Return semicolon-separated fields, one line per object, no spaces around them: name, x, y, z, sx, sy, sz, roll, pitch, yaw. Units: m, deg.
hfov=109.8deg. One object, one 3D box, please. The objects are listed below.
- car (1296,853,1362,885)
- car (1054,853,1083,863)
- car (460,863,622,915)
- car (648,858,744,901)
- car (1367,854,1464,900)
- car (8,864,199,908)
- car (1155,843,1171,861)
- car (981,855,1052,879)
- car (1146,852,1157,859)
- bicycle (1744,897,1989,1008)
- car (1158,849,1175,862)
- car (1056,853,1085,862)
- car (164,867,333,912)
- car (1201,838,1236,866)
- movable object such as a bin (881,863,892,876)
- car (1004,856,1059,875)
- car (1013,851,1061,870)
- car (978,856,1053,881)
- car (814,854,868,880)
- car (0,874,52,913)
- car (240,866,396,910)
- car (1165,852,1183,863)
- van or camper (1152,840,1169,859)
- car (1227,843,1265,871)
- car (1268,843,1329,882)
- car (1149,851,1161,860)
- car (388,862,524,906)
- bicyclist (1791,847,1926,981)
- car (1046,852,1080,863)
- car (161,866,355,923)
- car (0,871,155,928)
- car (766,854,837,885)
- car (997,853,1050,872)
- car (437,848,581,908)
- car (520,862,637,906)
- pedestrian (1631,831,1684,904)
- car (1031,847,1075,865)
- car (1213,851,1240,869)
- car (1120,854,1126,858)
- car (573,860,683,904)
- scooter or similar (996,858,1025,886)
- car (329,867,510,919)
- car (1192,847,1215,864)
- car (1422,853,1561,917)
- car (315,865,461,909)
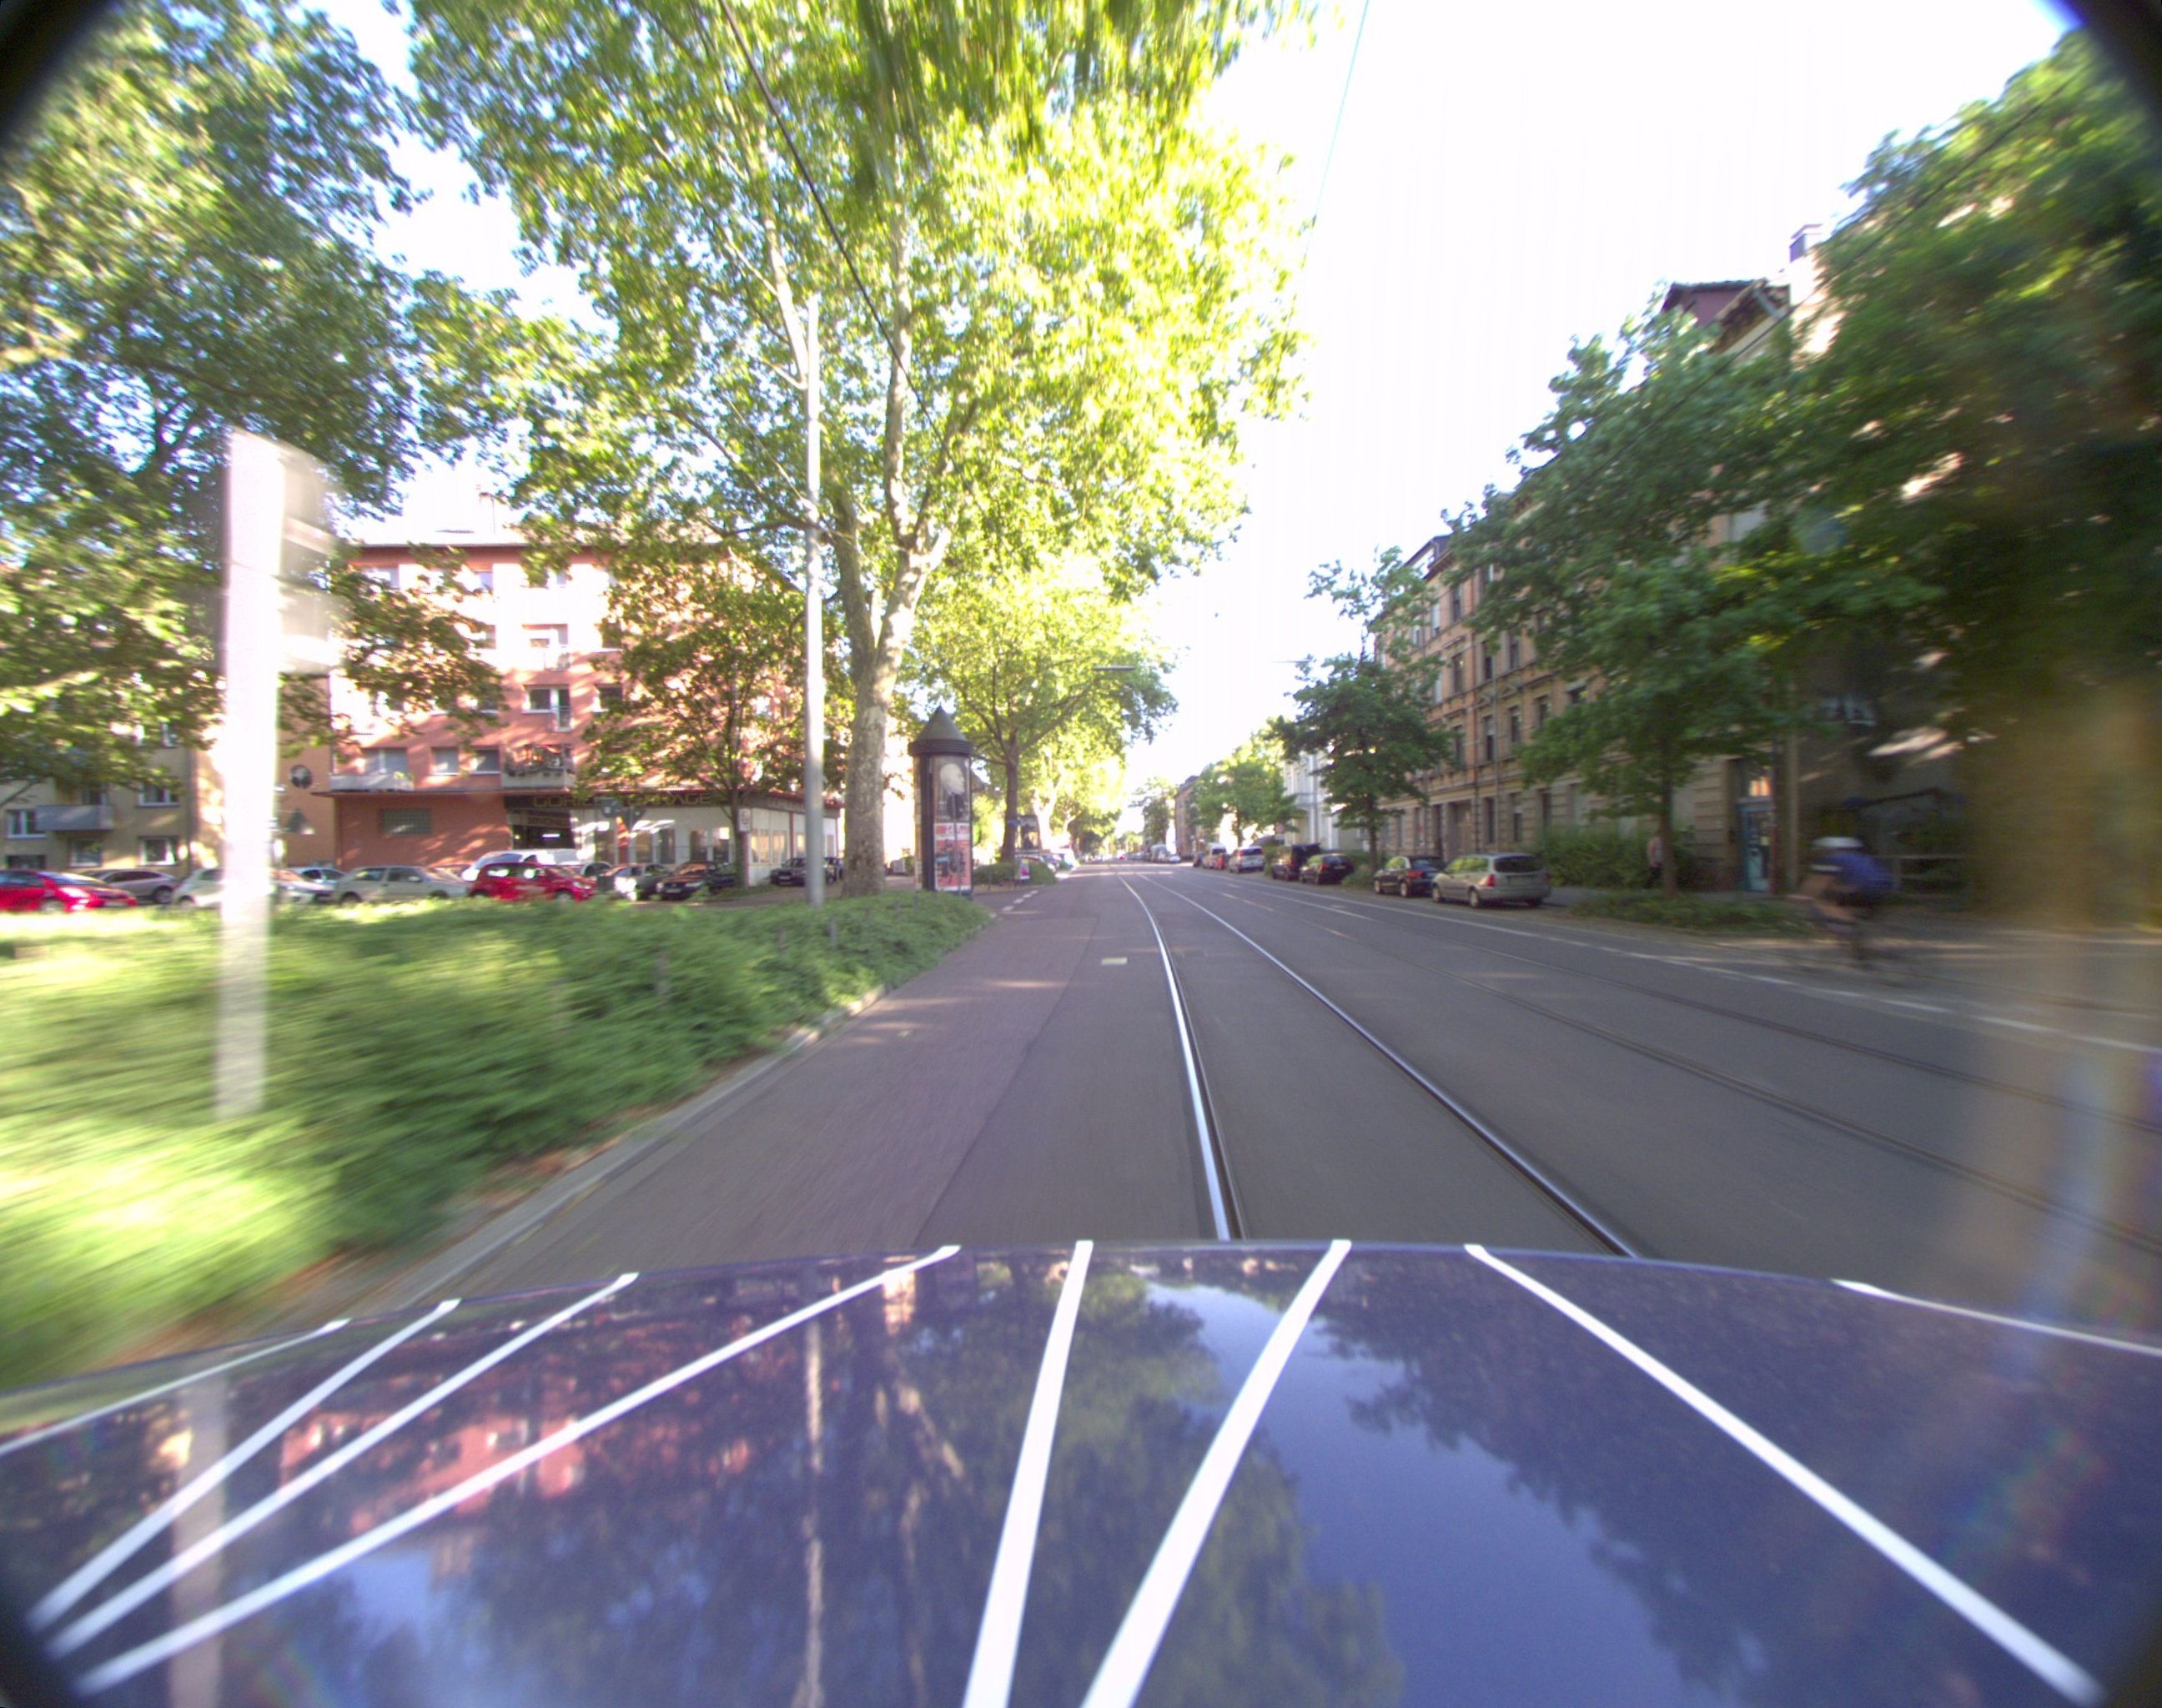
car;11.910;0.690;36.769;1.857;1.450;4.270;-1;0;0
car;-1.982;0.657;123.287;4.610;1.485;1.894;0;0;4
car;-15.840;1.001;22.411;3.547;1.444;1.683;-1;0;-1
car;-15.417;0.949;30.732;1.794;1.565;4.576;-1;0;-4
car;11.425;0.736;26.240;1.662;1.437;3.949;-2;0;1
car;-38.669;1.203;30.285;1.794;1.565;4.577;-1;0;-2
car;13.382;-0.325;124.327;1.927;2.730;4.547;-5;0;2
car;-4.244;0.860;50.369;4.413;1.534;1.952;-1;0;4
car;14.147;0.320;153.046;1.791;1.462;4.435;-2;0;0
bicycle;8.905;1.064;8.780;0.642;0.981;2.101;2;0;1
car;13.287;0.221;118.364;1.927;2.034;4.941;-2;0;0
car;-1.771;0.637;125.397;4.610;1.485;1.894;0;0;4
car;-32.893;1.329;30.263;1.794;1.565;4.577;-1;0;-2
car;12.798;-0.217;71.035;2.310;2.493;5.343;-1;0;0
movable object such as a bin;-14.209;1.131;55.568;0.658;0.934;0.447;-1;2;6
car;-3.957;0.883;61.148;4.210;1.439;1.817;-1;0;1
car;-3.960;0.551;68.361;4.211;1.609;1.878;-1;0;-1
car;-4.117;0.915;48.081;4.411;1.534;1.819;-1;0;8
car;-13.853;0.746;44.133;1.753;1.426;3.950;0;0;2
car;-44.728;1.634;30.078;1.794;1.565;4.577;-1;0;-2
car;-30.537;1.310;30.651;1.794;1.565;4.577;-1;0;-2
car;13.156;0.522;107.737;1.776;1.484;4.940;-2;0;-1
van or camper;13.695;-0.763;131.066;2.423;2.960;5.991;-5;0;2
car;12.150;0.215;56.215;1.848;1.977;4.988;-1;0;2
car;11.936;0.453;42.082;1.998;2.002;4.834;-1;0;0
car;13.853;0.274;143.005;1.791;1.743;4.435;-2;0;0
car;-24.800;1.145;30.394;1.794;1.565;4.577;-1;0;-2
bicyclist;8.930;0.659;8.763;0.642;1.447;0.837;2;1;1
car;-2.562;0.523;109.784;4.810;1.621;1.893;0;0;2
car;-24.562;1.184;22.784;3.927;1.572;1.683;-1;0;-1
car;-30.455;1.318;22.512;3.927;1.572;1.683;-1;0;-1
car;-13.899;0.731;38.021;1.753;1.426;4.468;0;0;2
car;-4.798;0.698;63.689;4.209;1.546;1.818;-1;0;4
car;-22.471;0.883;30.172;1.917;2.171;5.084;-1;0;-2
car;-20.115;1.140;30.691;1.794;1.565;4.577;-1;0;-2
pedestrian;14.898;0.341;19.650;0.743;1.836;0.728;-2;1;0
car;-3.138;0.218;86.261;4.859;2.002;2.194;1;0;-2
car;12.687;0.528;66.243;1.689;1.530;3.707;-1;0;1
car;14.344;0.684;259.665;1.769;1.448;3.586;-1;0;2
car;-17.649;1.022;29.882;1.794;1.565;4.576;-1;0;-4
scooter or similar;-3.187;0.801;34.400;1.211;1.233;0.569;0;1;0
car;-19.749;1.139;22.806;3.927;1.444;1.683;-1;0;-1
car;12.958;0.149;80.449;1.997;1.680;4.262;-1;0;4
car;11.292;0.780;21.280;1.703;1.541;4.537;-2;0;5
car;-27.588;1.244;30.497;1.794;1.565;4.577;-1;0;-2
